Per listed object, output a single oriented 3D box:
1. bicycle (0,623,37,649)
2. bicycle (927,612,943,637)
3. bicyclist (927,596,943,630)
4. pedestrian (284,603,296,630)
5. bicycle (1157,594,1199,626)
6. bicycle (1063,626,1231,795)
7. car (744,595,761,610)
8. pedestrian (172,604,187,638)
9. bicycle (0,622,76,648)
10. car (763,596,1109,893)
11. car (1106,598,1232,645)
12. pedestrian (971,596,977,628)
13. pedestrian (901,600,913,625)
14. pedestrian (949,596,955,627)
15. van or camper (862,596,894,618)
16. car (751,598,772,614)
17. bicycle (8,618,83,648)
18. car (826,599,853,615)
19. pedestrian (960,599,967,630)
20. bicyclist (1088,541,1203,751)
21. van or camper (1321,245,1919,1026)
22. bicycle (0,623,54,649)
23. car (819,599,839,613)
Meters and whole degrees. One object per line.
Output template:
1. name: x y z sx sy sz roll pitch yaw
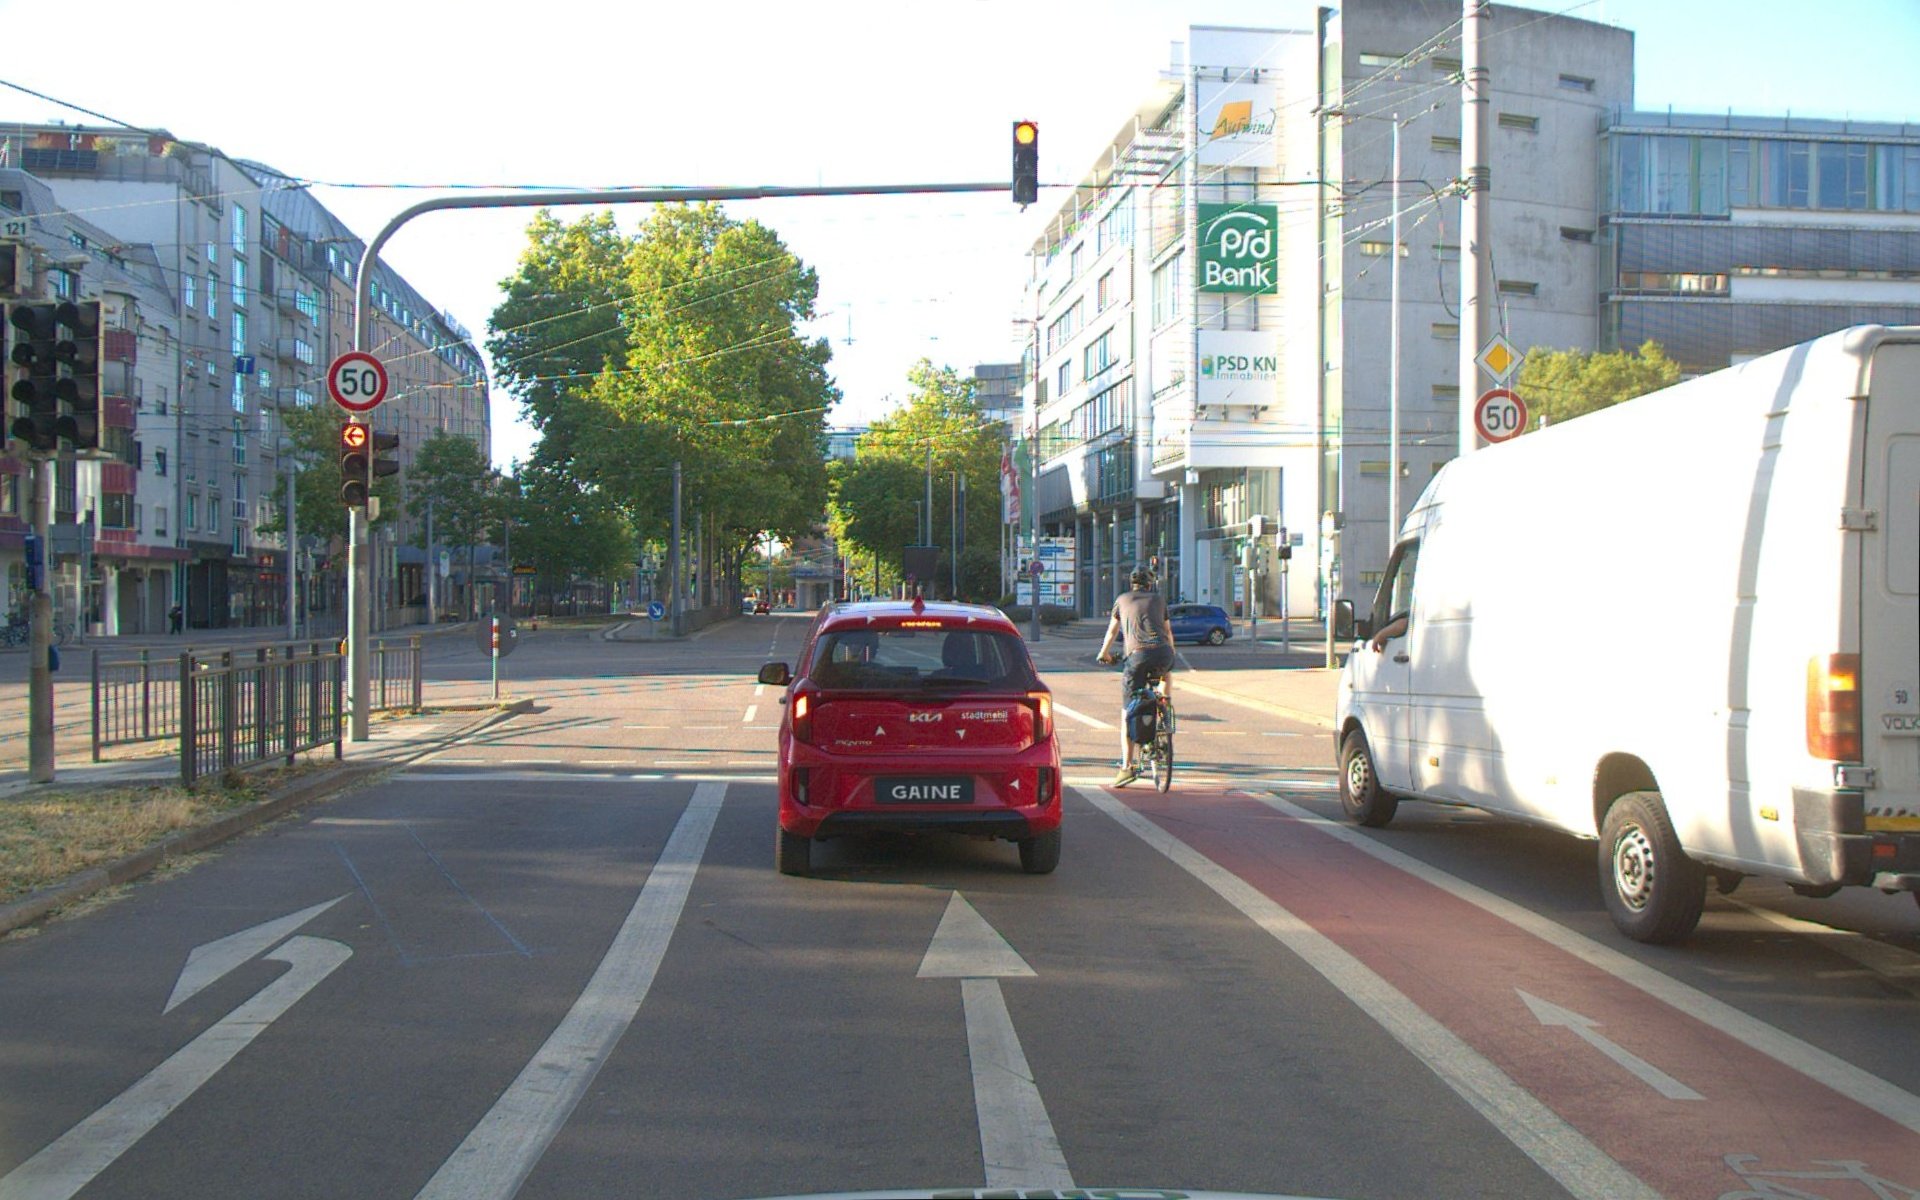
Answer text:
1. bicycle: -30.678 1.160 52.648 2.130 0.801 0.639 -1 0 -10
2. bicycle: -1.227 1.195 82.187 0.776 1.182 2.499 0 0 -1
3. bicyclist: -1.237 0.656 82.236 0.769 1.663 0.639 0 0 -2
4. pedestrian: -36.874 0.924 90.993 0.501 1.484 0.527 -1 0 -9
5. bicycle: 10.429 0.471 79.041 1.898 1.468 0.574 -1 0 -8
6. bicycle: 1.522 0.880 13.895 0.731 1.245 2.149 1 0 -12
7. car: -28.900 0.372 230.201 1.953 2.049 3.999 -1 0 -1
8. pedestrian: -34.941 0.943 74.044 0.501 1.484 0.526 -1 0 -14
9. bicycle: -30.532 1.151 54.797 2.130 0.838 0.526 -1 0 -10
10. car: -0.313 0.737 10.468 1.804 1.515 3.711 0 0 -6
11. car: 7.482 0.750 59.379 4.180 1.595 1.846 -1 0 -9
12. pedestrian: 0.701 0.590 83.217 0.288 1.589 0.314 -1 0 -4
13. pedestrian: -3.727 0.897 116.392 0.729 1.746 0.746 0 0 -11
14. pedestrian: -0.389 0.577 82.986 0.288 1.589 0.302 -1 0 -4
15. van or camper: -6.758 0.574 135.631 2.106 1.781 4.422 -1 0 -9
16. car: -21.407 0.671 178.326 2.021 1.682 3.482 -1 0 -11
17. bicycle: -30.649 1.087 55.430 2.130 0.967 0.491 -1 0 -10
18. car: -12.300 0.716 169.186 2.432 1.555 4.423 -1 0 -8
19. pedestrian: 0.161 0.732 83.228 0.288 1.589 0.356 -1 0 11
20. bicyclist: 1.540 0.375 13.826 0.730 1.698 0.743 1 0 -11
21. van or camper: 4.119 0.156 9.173 2.225 2.781 6.339 2 0 -6
22. bicycle: -30.515 1.164 53.434 2.130 0.801 0.491 -1 0 -10
23. car: -14.520 0.650 183.189 1.850 1.555 4.422 -1 0 -9
